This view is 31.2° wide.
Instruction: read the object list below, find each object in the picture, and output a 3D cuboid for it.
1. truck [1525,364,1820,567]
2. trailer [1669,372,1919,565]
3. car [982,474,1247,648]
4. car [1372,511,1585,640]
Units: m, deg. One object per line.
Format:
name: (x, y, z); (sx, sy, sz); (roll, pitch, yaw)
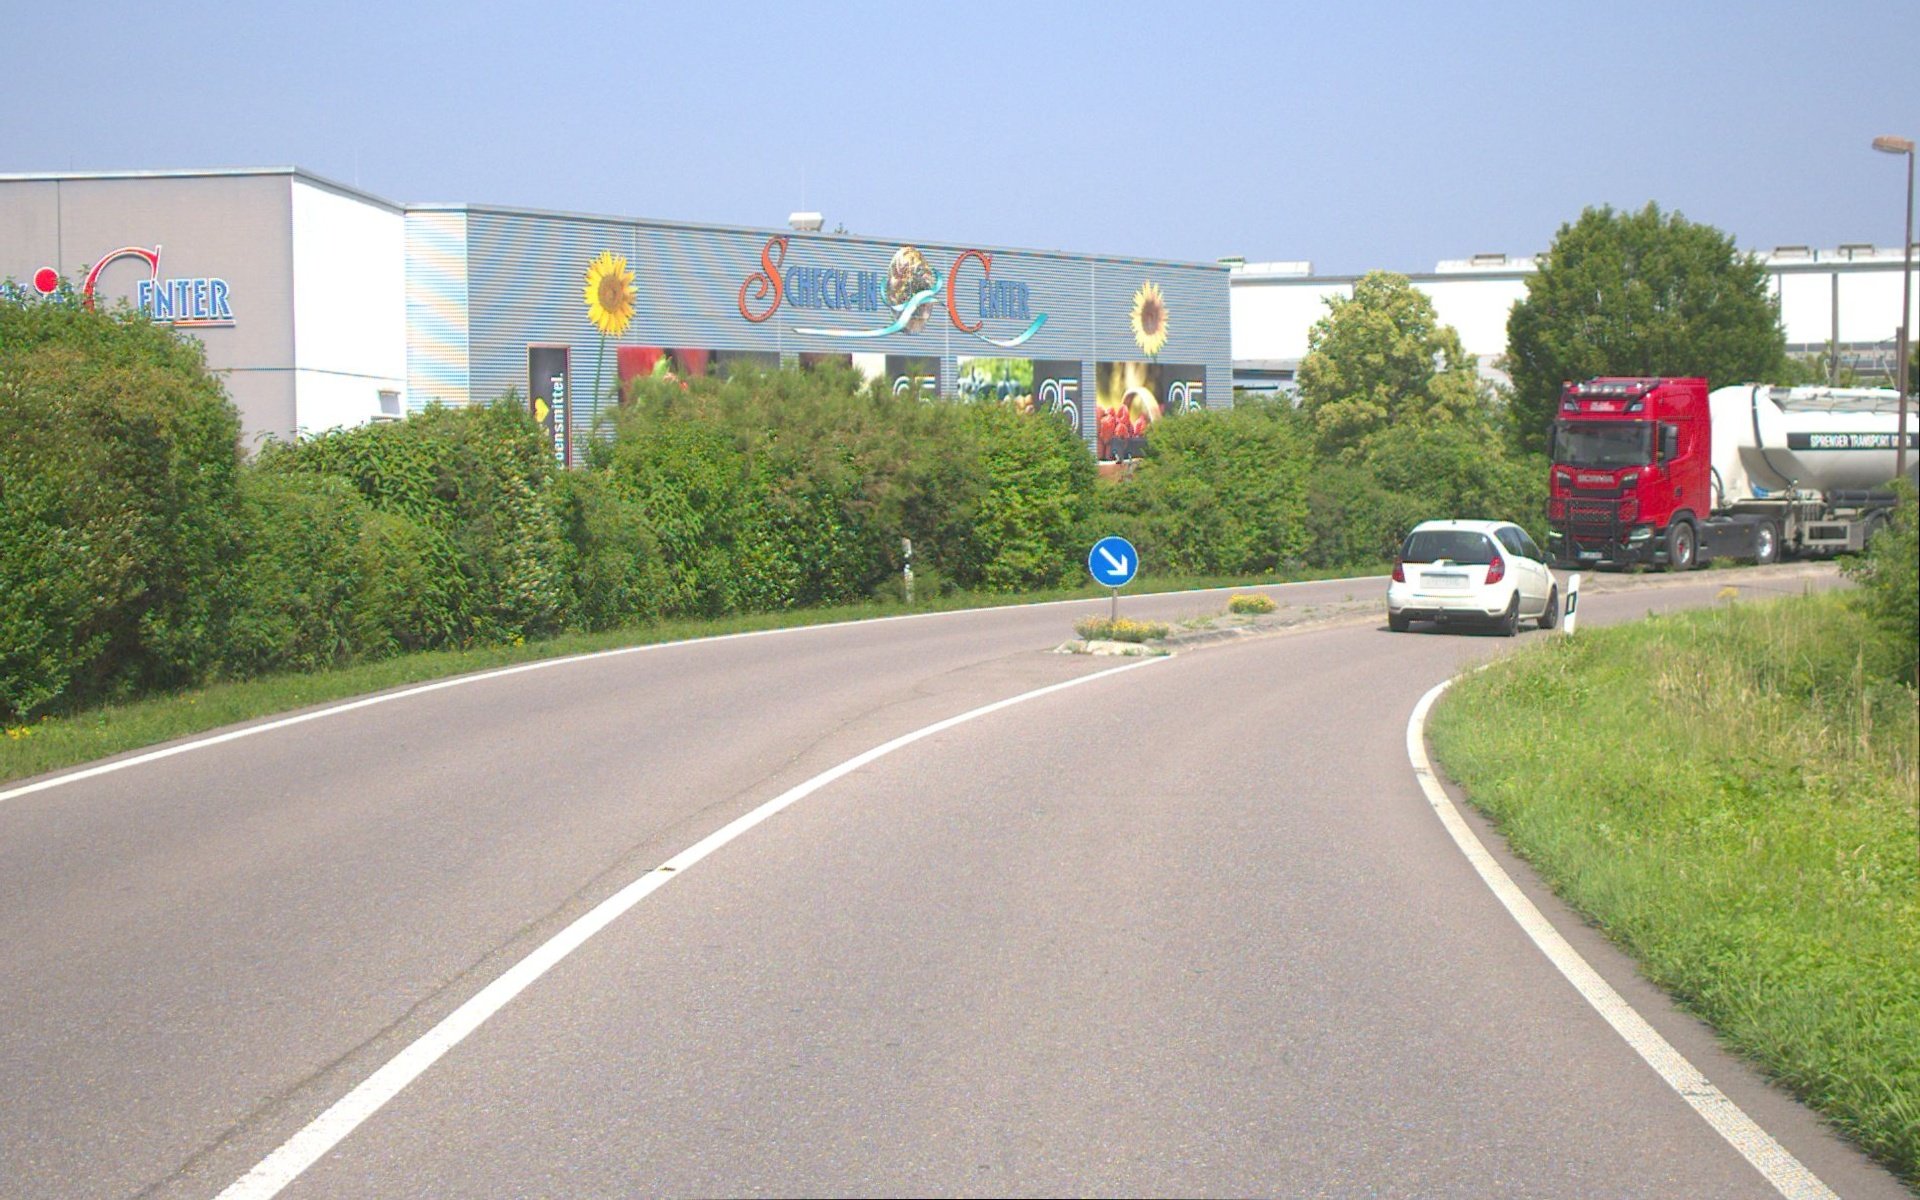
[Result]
truck: (14.955, -2.729, 71.868); (2.889, 4.016, 6.704); (1, 1, 44)
trailer: (19.557, -2.815, 76.274); (8.671, 4.016, 2.887); (0, 1, -42)
car: (1.949, -0.484, 42.125); (1.996, 2.007, 3.995); (1, 1, 22)
car: (7.401, -0.331, 48.808); (1.784, 1.597, 3.887); (6, 2, 26)
